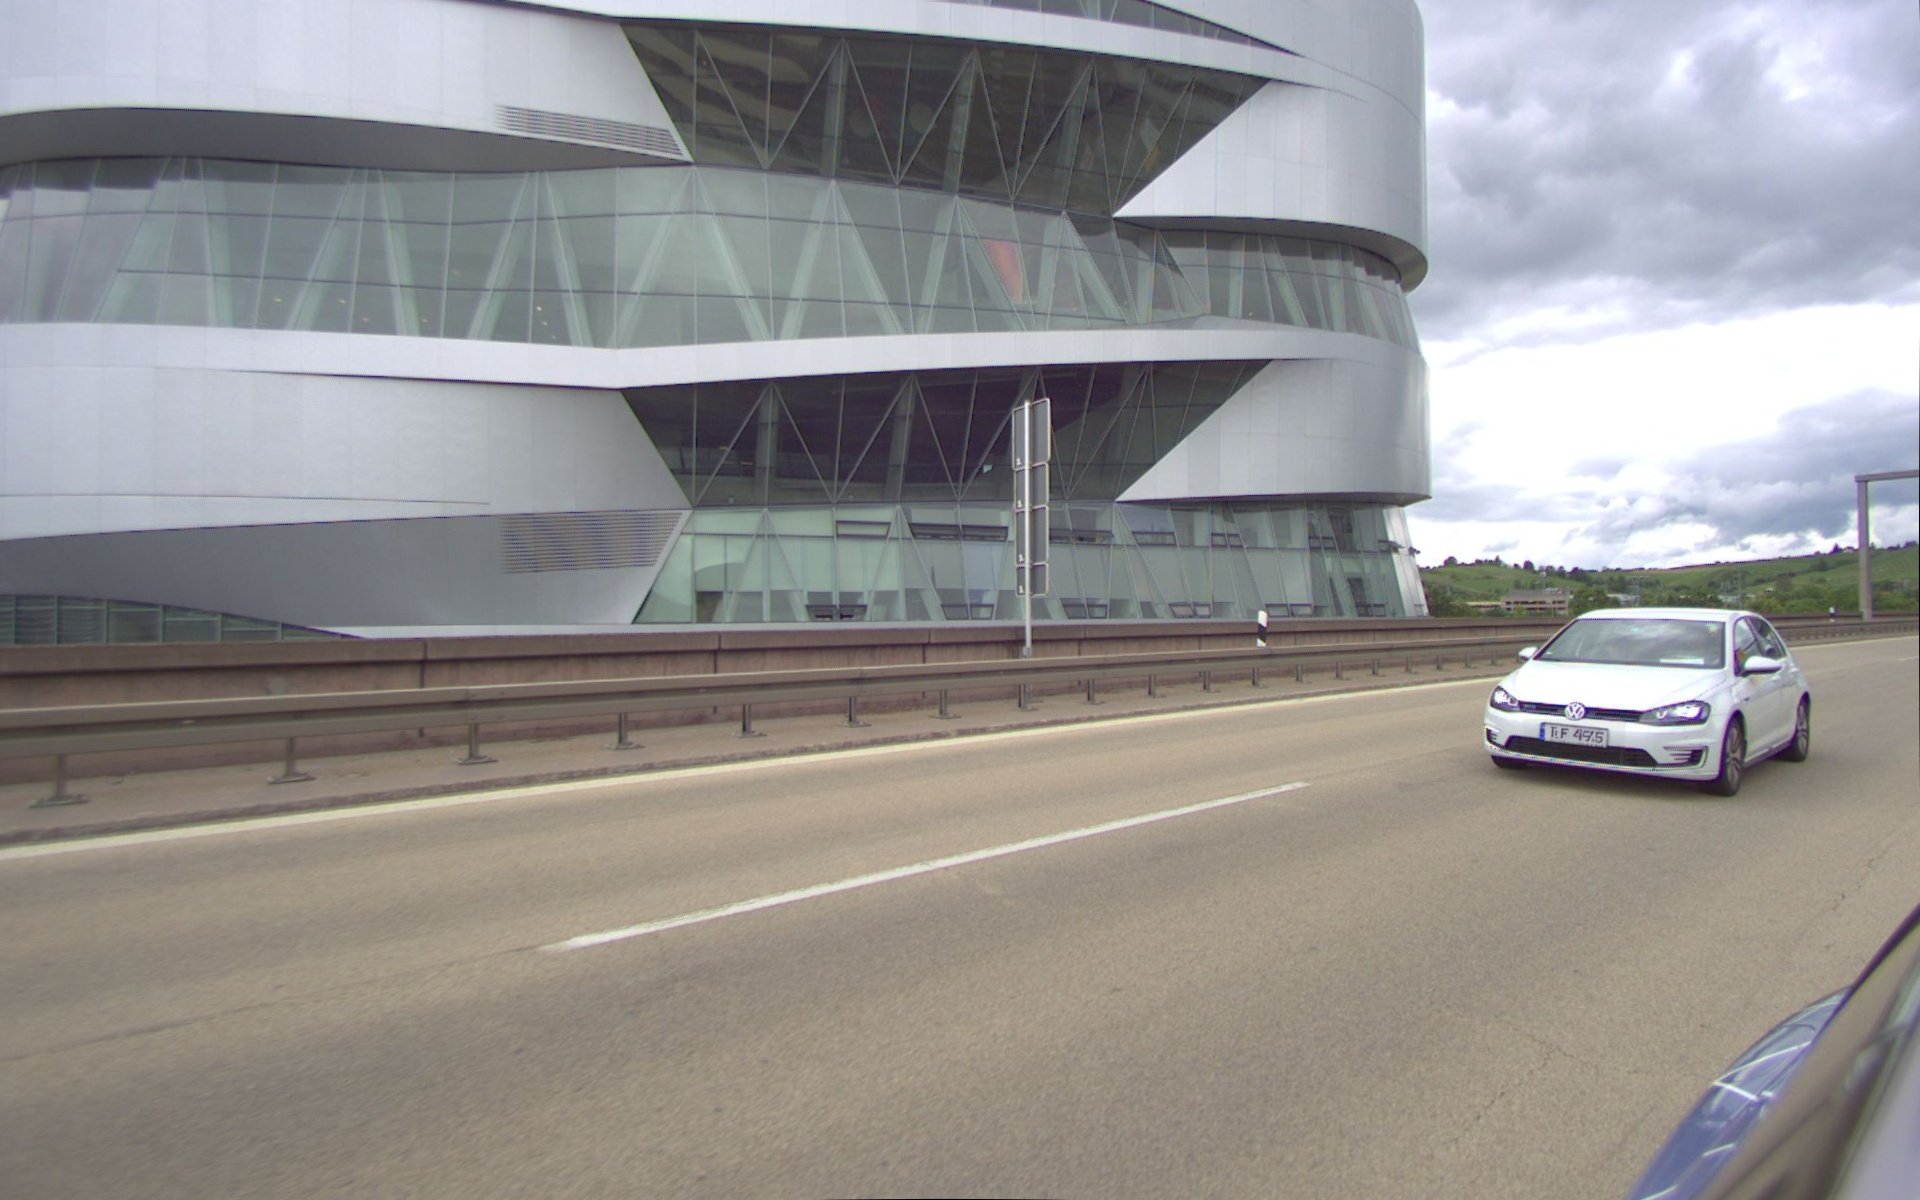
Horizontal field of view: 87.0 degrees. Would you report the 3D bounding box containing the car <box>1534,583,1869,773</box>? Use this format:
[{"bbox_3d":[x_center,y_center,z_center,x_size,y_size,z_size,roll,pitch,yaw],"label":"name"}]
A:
[{"bbox_3d":[7.640,0.605,10.296,3.990,1.527,1.929,-1,1,-41],"label":"car"}]
